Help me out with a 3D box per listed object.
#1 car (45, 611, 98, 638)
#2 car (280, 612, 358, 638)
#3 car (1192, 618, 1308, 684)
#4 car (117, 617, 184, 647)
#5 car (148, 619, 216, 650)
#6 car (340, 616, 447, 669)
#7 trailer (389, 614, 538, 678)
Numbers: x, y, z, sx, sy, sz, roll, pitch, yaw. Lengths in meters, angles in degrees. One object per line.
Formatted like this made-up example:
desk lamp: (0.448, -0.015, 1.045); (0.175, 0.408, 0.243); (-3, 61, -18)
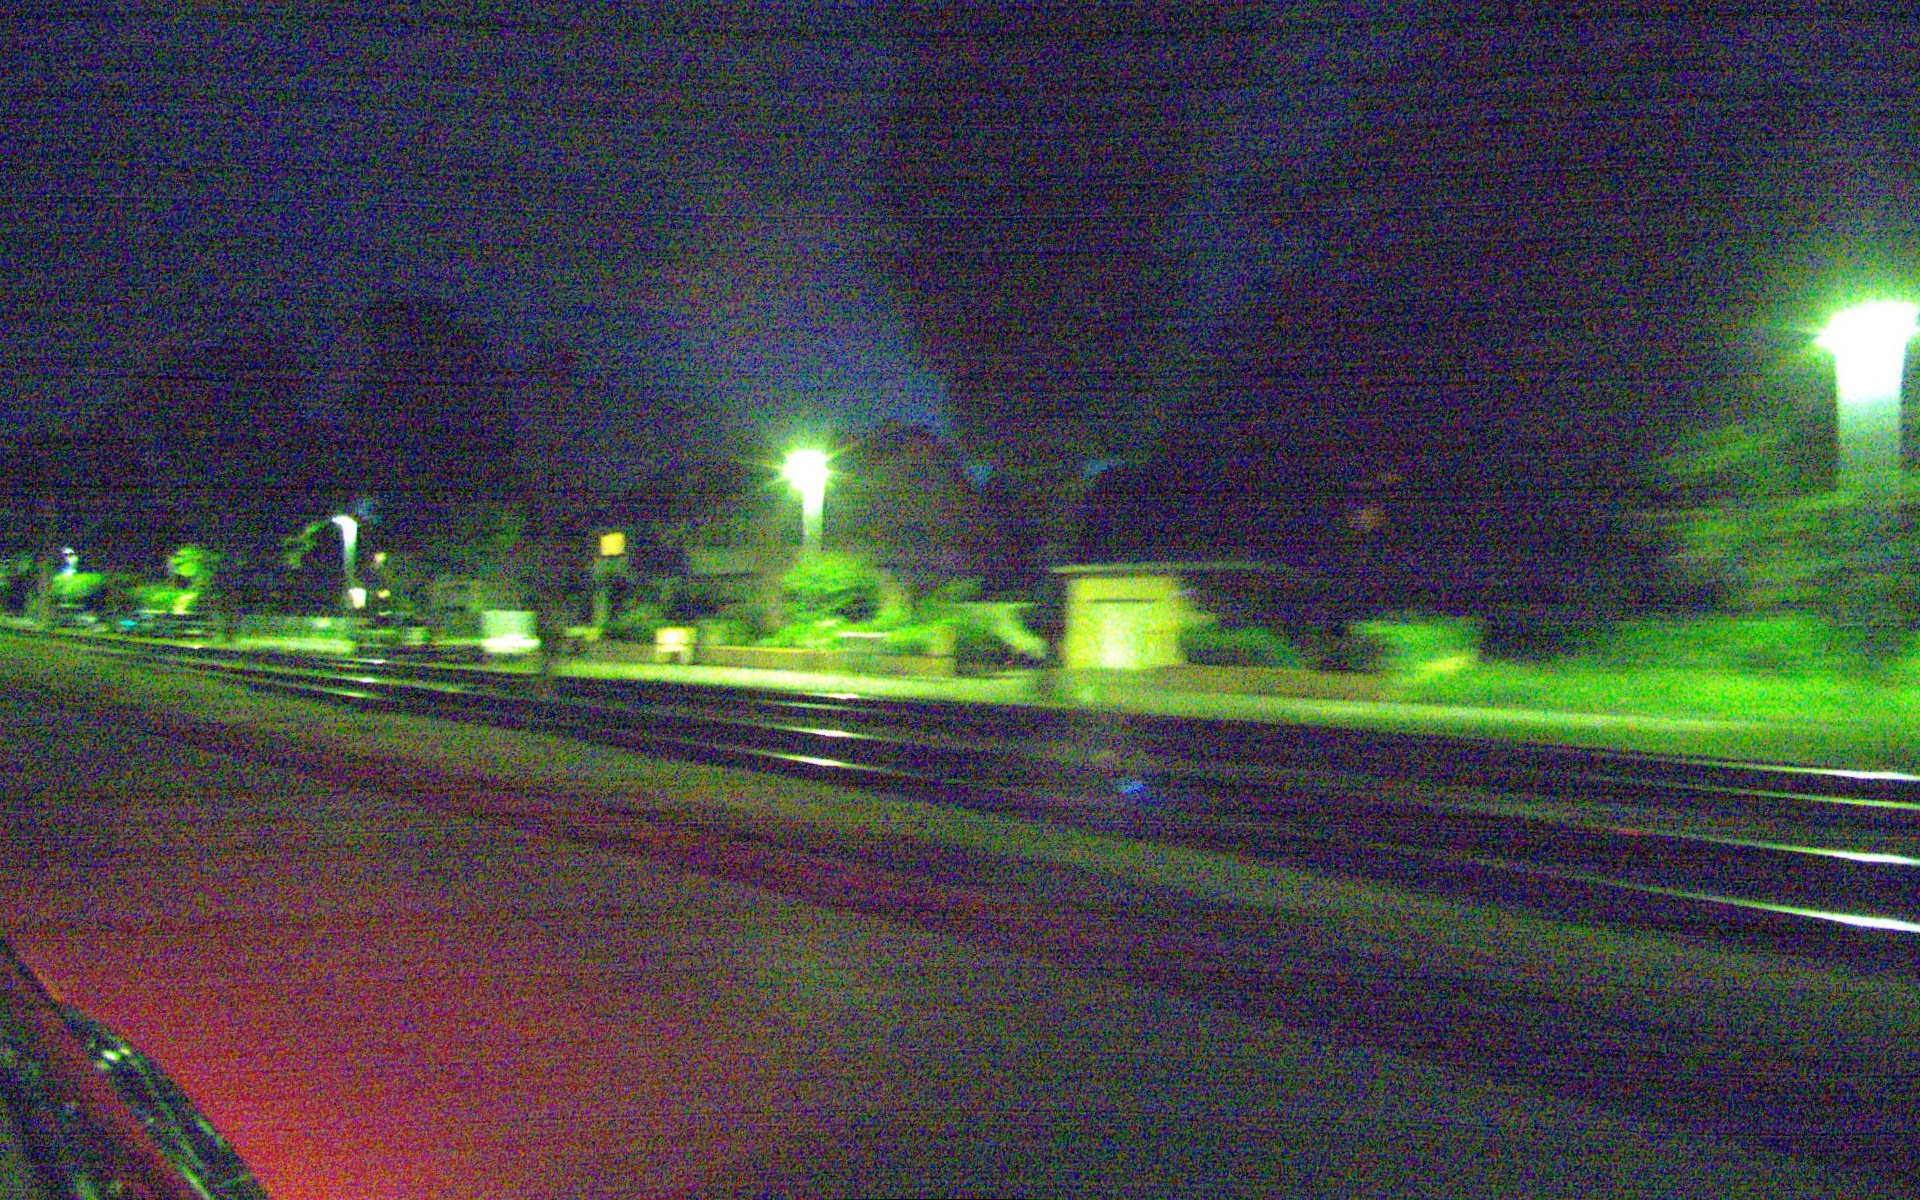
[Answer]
car: (-58.765, 1.596, 66.904); (4.687, 1.580, 1.747); (0, -5, 39)
car: (-42.332, 1.599, 66.918); (1.886, 1.554, 3.951); (1, 1, 36)
car: (8.431, 1.407, 29.219); (1.756, 1.621, 3.946); (1, 1, 41)
car: (-43.741, 1.717, 54.620); (4.981, 1.375, 1.880); (1, -4, 41)
car: (-39.033, 1.713, 50.734); (4.141, 1.375, 1.711); (1, -3, 39)
car: (-19.634, 1.451, 35.005); (4.532, 1.589, 1.699); (1, -4, 41)
trailer: (-15.649, 1.410, 31.767); (5.669, 1.794, 2.004); (0, -3, 40)
